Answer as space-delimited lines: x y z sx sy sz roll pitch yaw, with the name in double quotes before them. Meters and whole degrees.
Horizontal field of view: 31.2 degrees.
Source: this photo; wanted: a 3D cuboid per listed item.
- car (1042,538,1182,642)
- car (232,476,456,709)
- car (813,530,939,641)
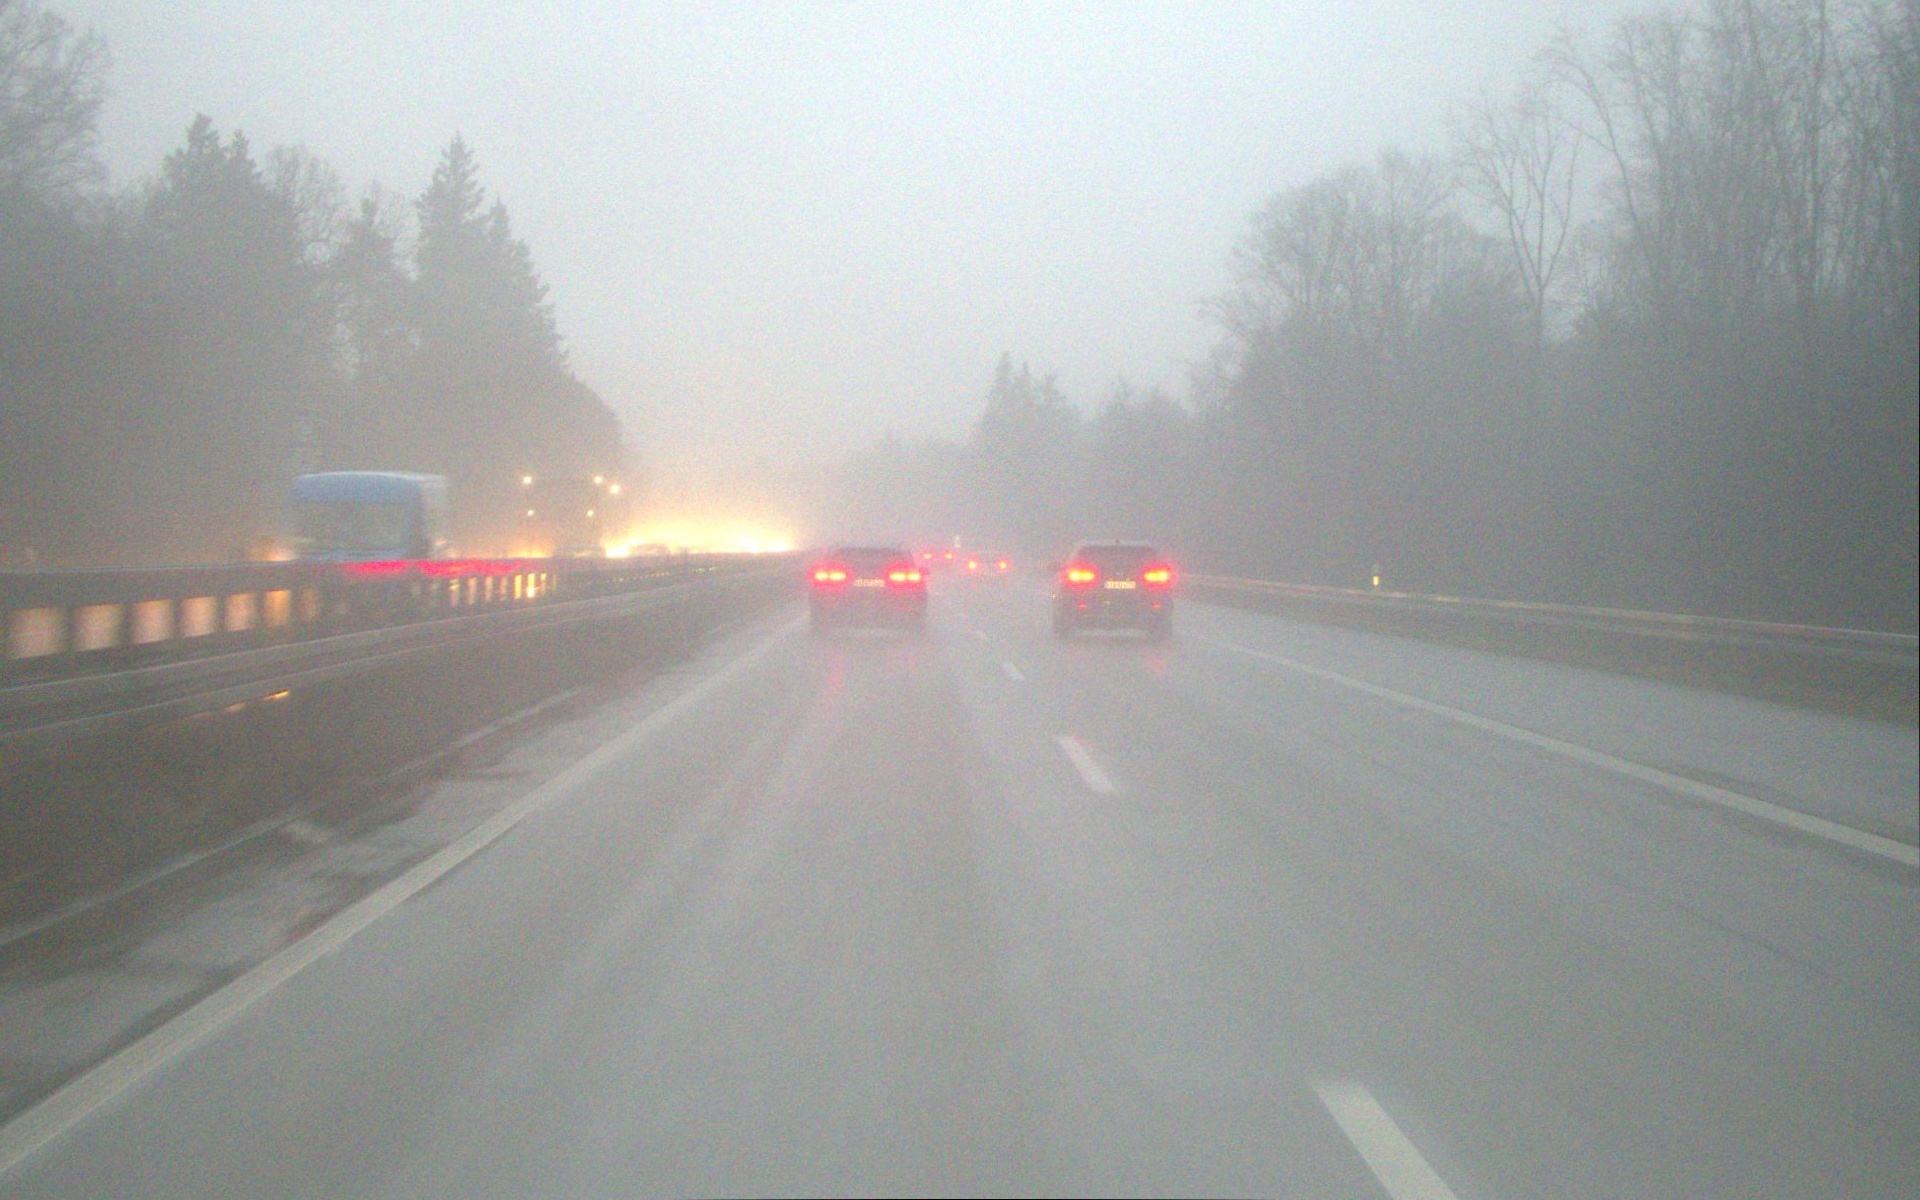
"car" 2.569 -0.196 59.276 2.070 1.692 4.461 1 1 -2
"car" -8.640 -0.137 48.719 2.303 3.079 5.609 1 1 -2
"car" -1.417 -0.256 56.687 1.986 1.761 4.174 0 1 -2
